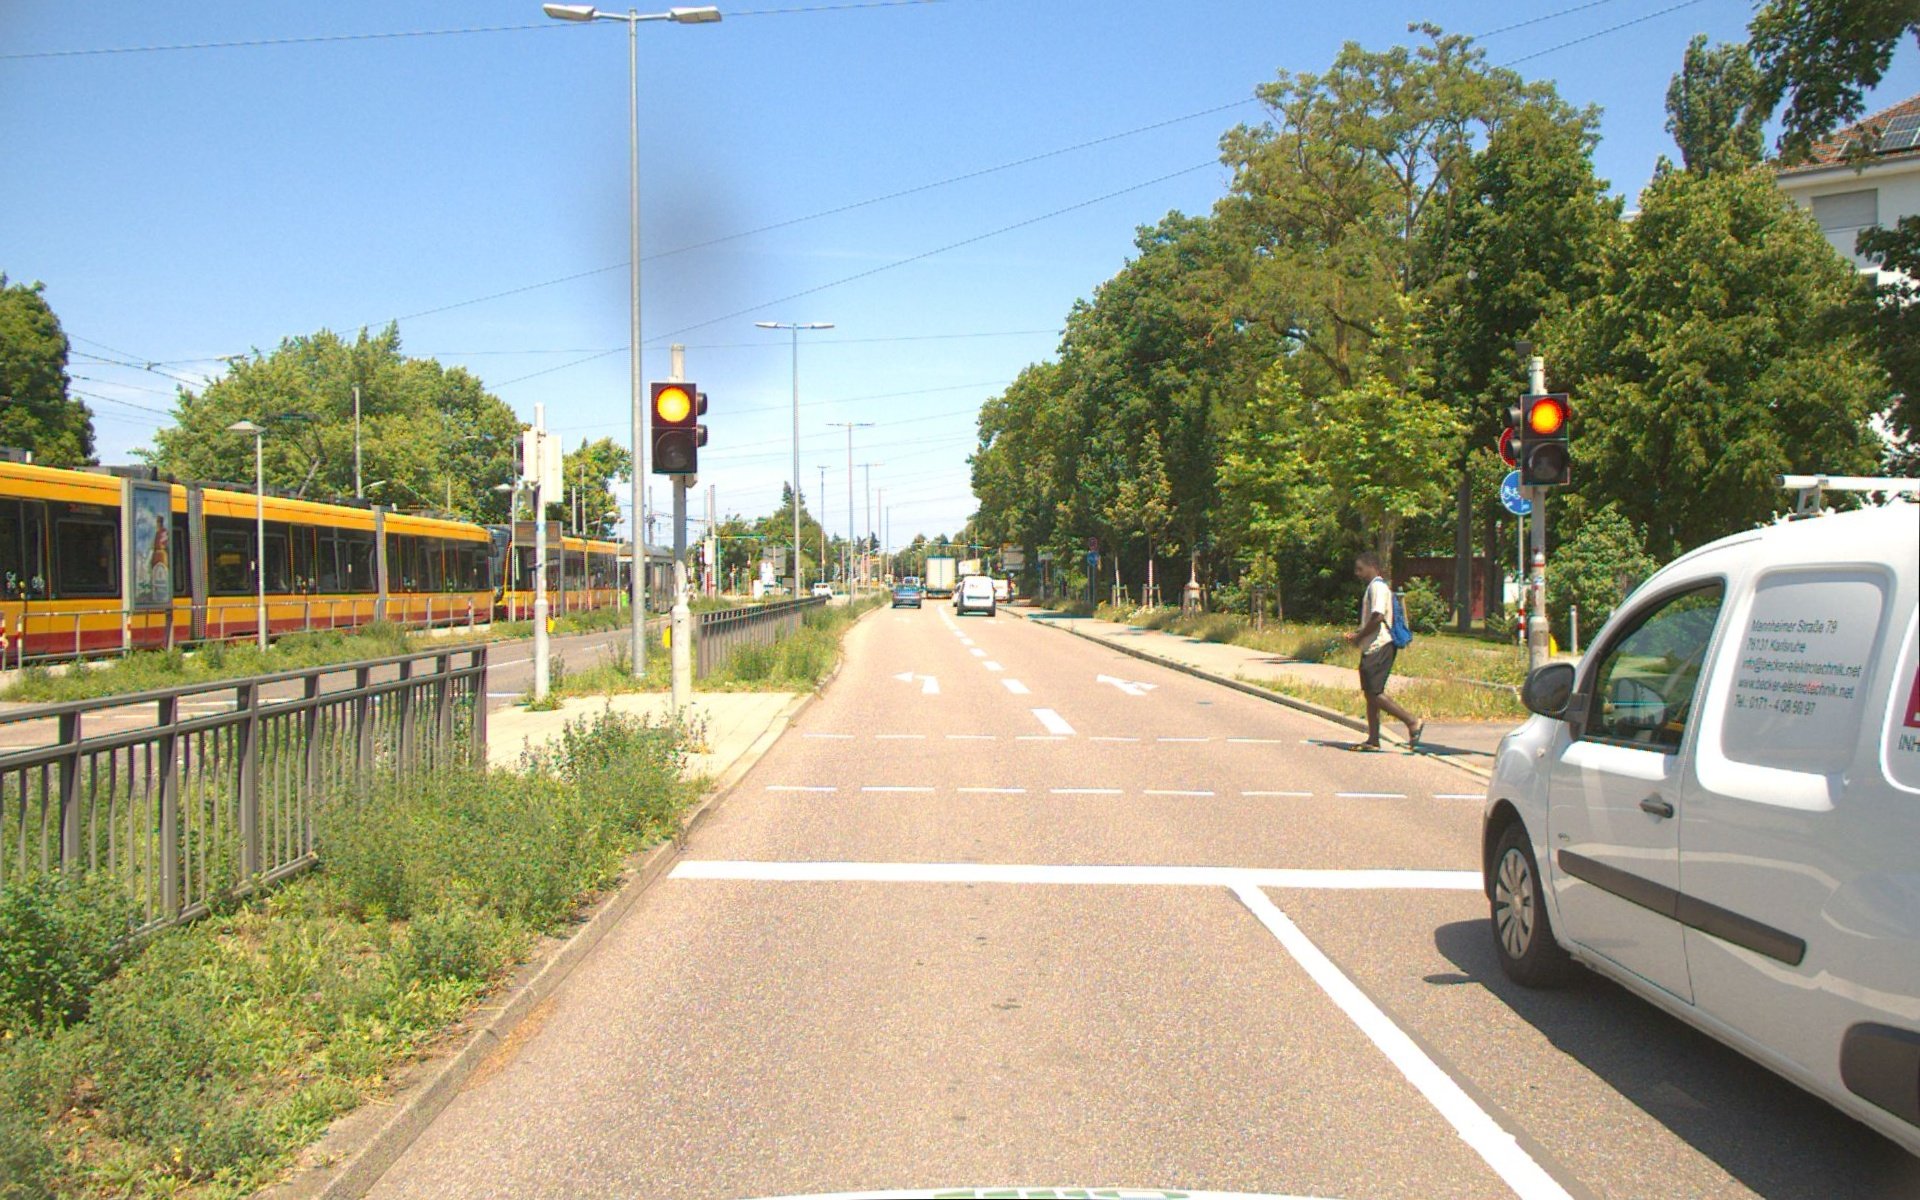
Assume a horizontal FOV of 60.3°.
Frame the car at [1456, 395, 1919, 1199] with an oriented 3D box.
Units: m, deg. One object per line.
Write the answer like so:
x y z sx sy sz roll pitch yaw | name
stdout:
3.061 0.493 4.883 1.787 1.914 4.455 1 1 -1 | car

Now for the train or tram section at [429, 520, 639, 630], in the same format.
-17.004 -0.964 69.209 2.731 3.732 25.992 0 0 -1 | train or tram section

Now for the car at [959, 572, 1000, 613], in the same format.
0.950 -0.377 77.462 1.691 1.845 4.002 1 1 4 | car

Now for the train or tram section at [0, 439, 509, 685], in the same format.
-16.242 -0.682 37.457 2.731 3.732 37.508 0 1 -1 | train or tram section

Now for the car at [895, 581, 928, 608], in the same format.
-2.775 -0.330 95.354 1.764 1.512 4.000 0 1 1 | car

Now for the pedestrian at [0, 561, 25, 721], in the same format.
-11.392 0.468 19.033 0.939 1.828 0.704 0 0 28 | pedestrian

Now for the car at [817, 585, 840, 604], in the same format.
-12.299 -0.541 154.601 1.953 1.678 3.999 0 1 -2 | car

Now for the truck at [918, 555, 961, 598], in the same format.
-1.977 -2.178 154.090 3.820 3.879 10.789 0 1 -2 | truck

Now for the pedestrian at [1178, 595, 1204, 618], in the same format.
8.586 0.237 61.556 0.664 0.862 1.773 0 0 -2 | pedestrian

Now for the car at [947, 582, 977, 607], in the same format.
0.103 -0.339 106.204 1.767 1.566 3.998 0 0 -3 | car

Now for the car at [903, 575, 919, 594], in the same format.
-5.041 -1.603 170.084 1.653 1.930 3.869 0 1 -2 | car

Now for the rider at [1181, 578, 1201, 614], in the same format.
8.582 -0.147 61.537 0.664 1.304 0.533 0 0 -2 | rider

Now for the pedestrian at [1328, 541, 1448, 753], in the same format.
3.917 0.410 15.190 1.024 1.882 0.758 1 0 13 | pedestrian
